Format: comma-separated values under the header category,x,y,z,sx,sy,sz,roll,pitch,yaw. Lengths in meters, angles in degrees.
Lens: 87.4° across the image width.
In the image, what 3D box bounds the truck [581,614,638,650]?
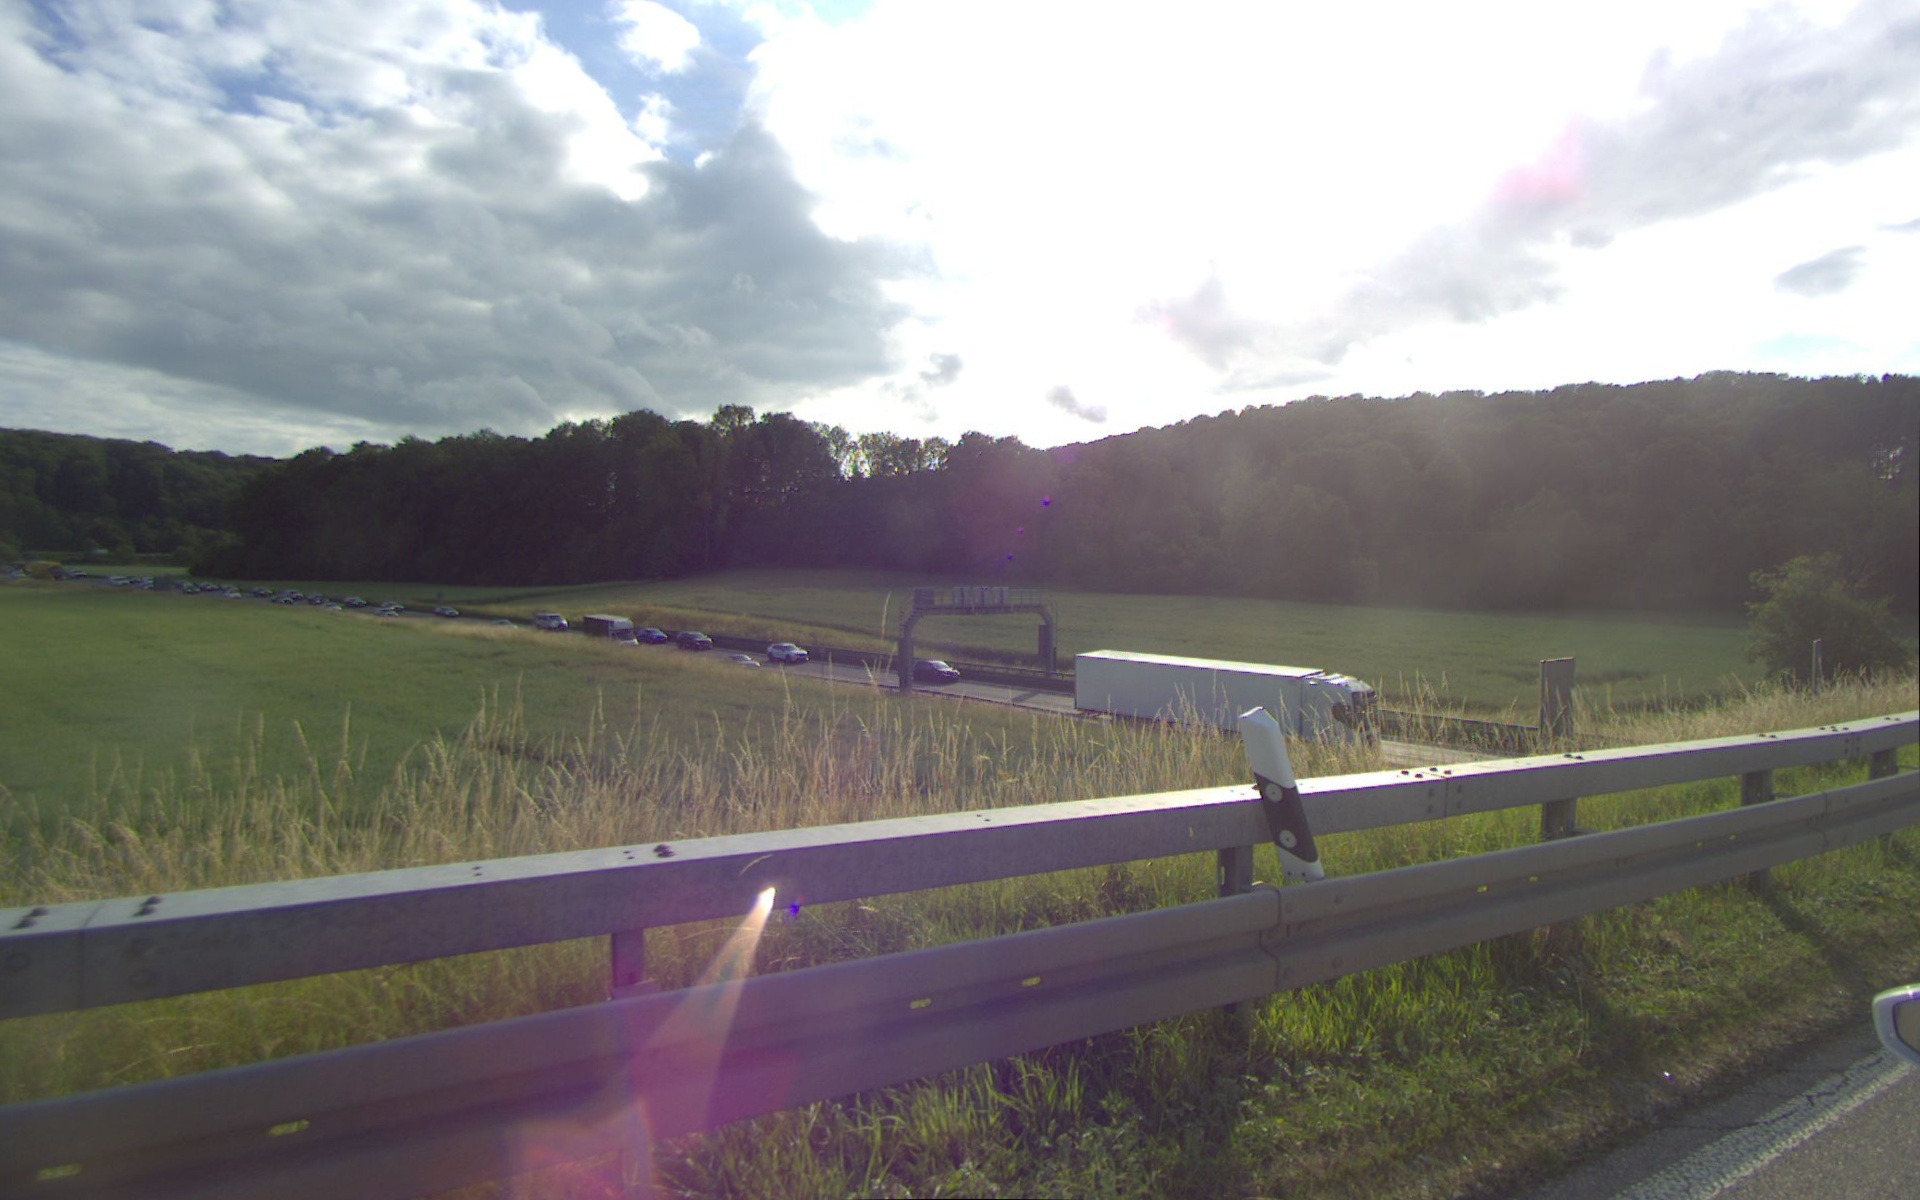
category,x,y,z,sx,sy,sz,roll,pitch,yaw
truck,-34.432,3.129,98.509,2.109,3.450,8.388,0,-2,-43

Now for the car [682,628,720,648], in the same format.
category,x,y,z,sx,sy,sz,roll,pitch,yaw
car,-25.348,3.680,98.358,1.817,1.672,3.946,1,2,-45

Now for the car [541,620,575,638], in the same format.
category,x,y,z,sx,sy,sz,roll,pitch,yaw
car,-46.571,3.368,116.345,3.943,1.750,1.990,3,-2,43

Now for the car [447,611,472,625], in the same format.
category,x,y,z,sx,sy,sz,roll,pitch,yaw
car,-69.608,2.499,139.694,3.943,1.608,1.793,4,1,43

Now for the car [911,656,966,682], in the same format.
category,x,y,z,sx,sy,sz,roll,pitch,yaw
car,-1.607,5.045,74.121,1.812,1.556,3.948,2,1,-43

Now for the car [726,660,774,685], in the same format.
category,x,y,z,sx,sy,sz,roll,pitch,yaw
car,-17.023,5.841,81.290,3.946,1.736,1.977,-1,0,45

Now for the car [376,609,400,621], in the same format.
category,x,y,z,sx,sy,sz,roll,pitch,yaw
car,-79.142,2.054,139.038,3.944,1.462,1.818,3,2,44

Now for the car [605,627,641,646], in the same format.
category,x,y,z,sx,sy,sz,roll,pitch,yaw
car,-37.047,3.988,110.448,3.943,1.750,1.990,3,-2,43

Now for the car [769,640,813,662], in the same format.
category,x,y,z,sx,sy,sz,roll,pitch,yaw
car,-14.690,4.408,87.195,1.817,1.672,3.947,0,-1,-45

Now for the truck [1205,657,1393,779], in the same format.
category,x,y,z,sx,sy,sz,roll,pitch,yaw
truck,15.731,5.301,47.198,3.006,4.529,7.956,-4,4,-42

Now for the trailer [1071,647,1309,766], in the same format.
category,x,y,z,sx,sy,sz,roll,pitch,yaw
trailer,11.476,5.158,51.903,3.009,4.529,12.566,-4,4,-42
